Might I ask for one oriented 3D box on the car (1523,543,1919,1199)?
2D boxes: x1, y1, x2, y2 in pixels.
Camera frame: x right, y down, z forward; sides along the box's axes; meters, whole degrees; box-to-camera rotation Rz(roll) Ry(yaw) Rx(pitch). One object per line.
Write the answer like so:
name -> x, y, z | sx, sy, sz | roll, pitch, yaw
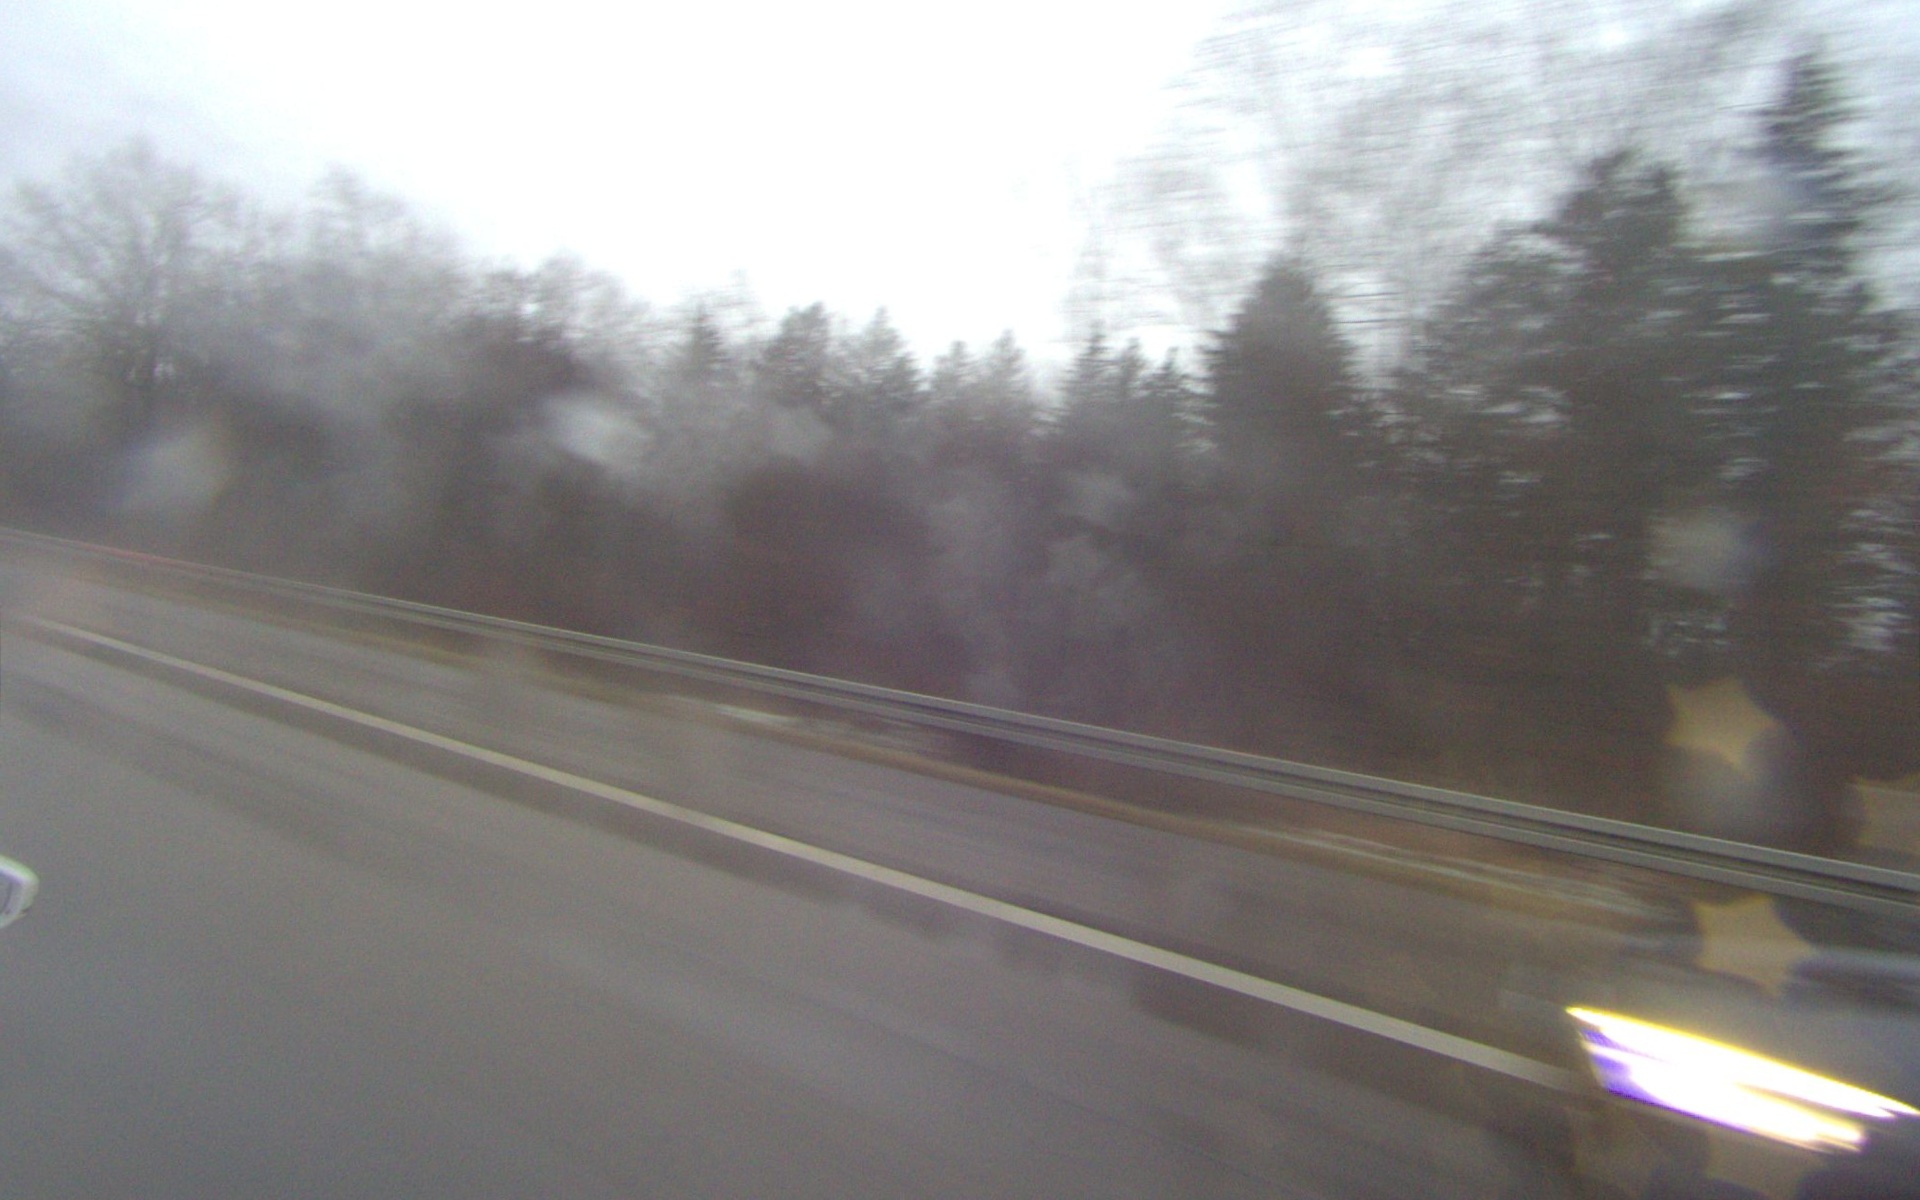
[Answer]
car -> 3.261, 1.061, 1.716 | 3.875, 1.812, 1.928 | 6, -2, 32
